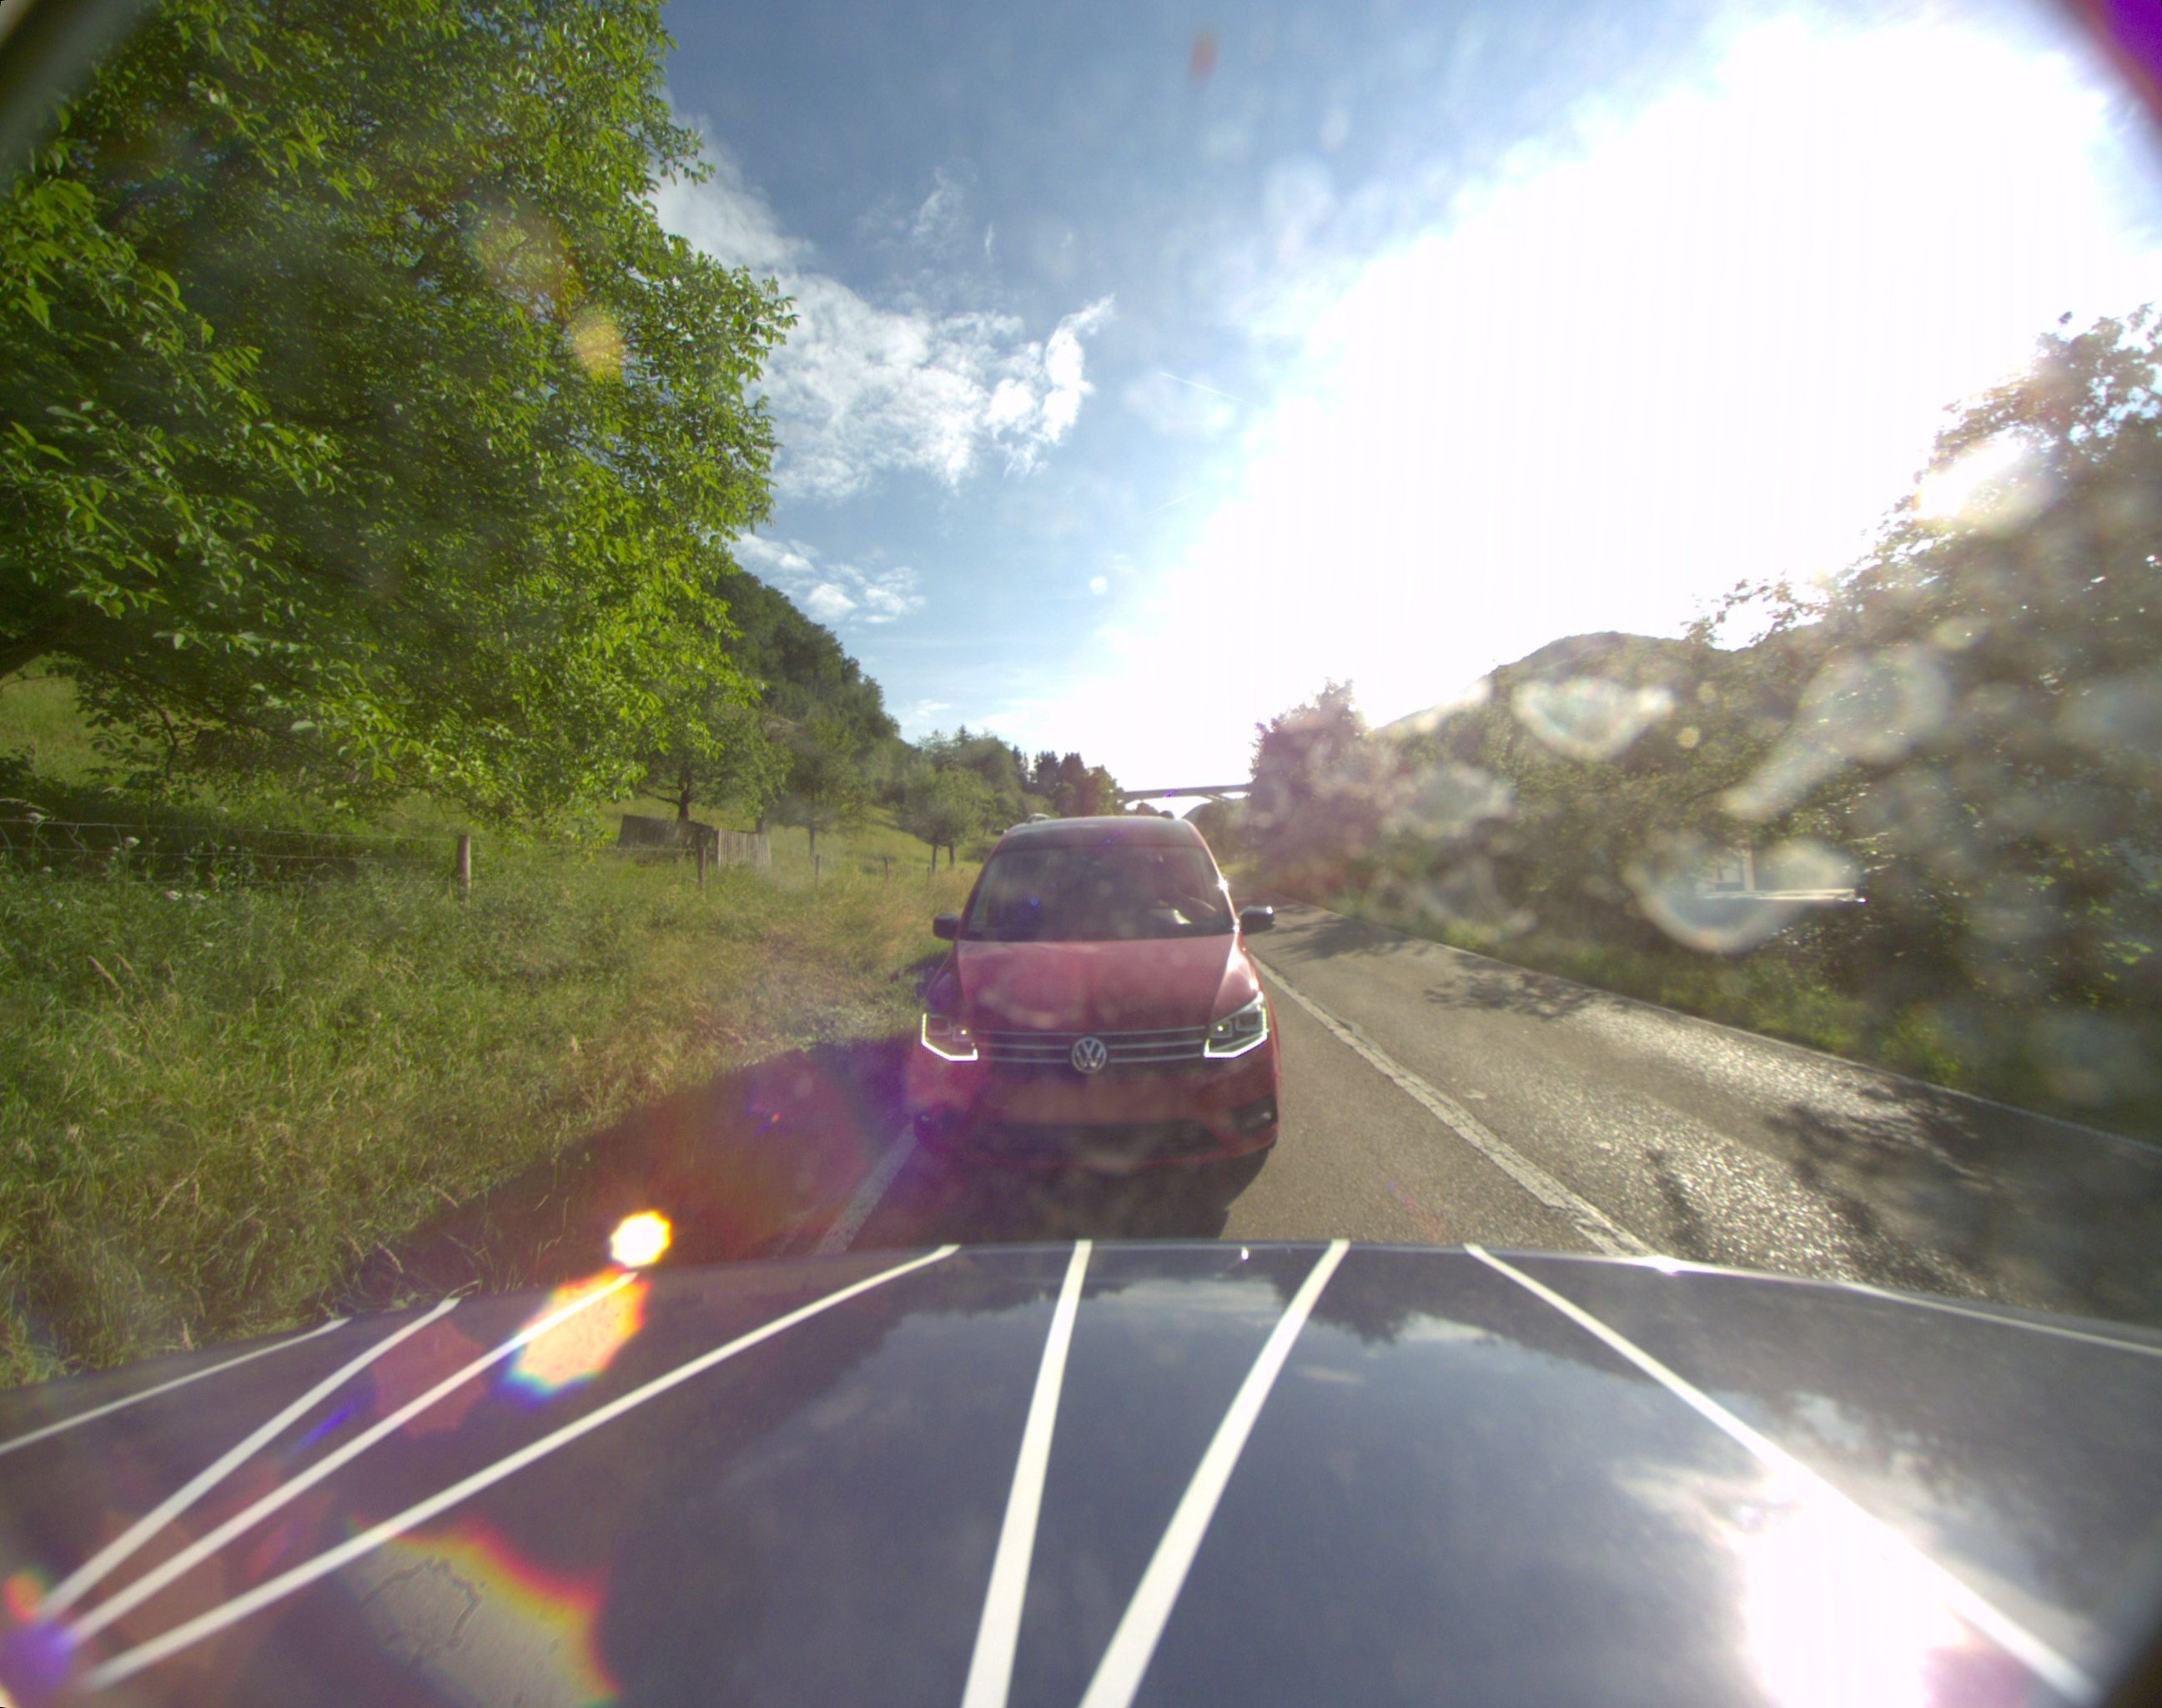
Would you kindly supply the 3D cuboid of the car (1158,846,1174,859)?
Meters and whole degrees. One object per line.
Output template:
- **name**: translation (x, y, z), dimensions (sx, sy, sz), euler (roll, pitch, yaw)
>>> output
- **car**: translation (11.141, -0.202, 99.739), dimensions (1.817, 1.608, 4.003), euler (-1, 1, 10)

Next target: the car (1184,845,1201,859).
- **car**: translation (13.380, -0.305, 90.987), dimensions (1.818, 1.608, 3.807), euler (-1, 1, 6)

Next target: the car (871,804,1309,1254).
- **car**: translation (0.124, 0.737, 5.163), dimensions (1.772, 1.855, 3.875), euler (-3, 1, 3)

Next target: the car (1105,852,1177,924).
- **car**: translation (1.427, 0.748, 18.457), dimensions (1.571, 1.576, 3.527), euler (-1, 0, 4)

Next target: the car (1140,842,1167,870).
- **car**: translation (5.467, 0.145, 57.447), dimensions (1.914, 2.002, 4.001), euler (-1, 1, 6)
